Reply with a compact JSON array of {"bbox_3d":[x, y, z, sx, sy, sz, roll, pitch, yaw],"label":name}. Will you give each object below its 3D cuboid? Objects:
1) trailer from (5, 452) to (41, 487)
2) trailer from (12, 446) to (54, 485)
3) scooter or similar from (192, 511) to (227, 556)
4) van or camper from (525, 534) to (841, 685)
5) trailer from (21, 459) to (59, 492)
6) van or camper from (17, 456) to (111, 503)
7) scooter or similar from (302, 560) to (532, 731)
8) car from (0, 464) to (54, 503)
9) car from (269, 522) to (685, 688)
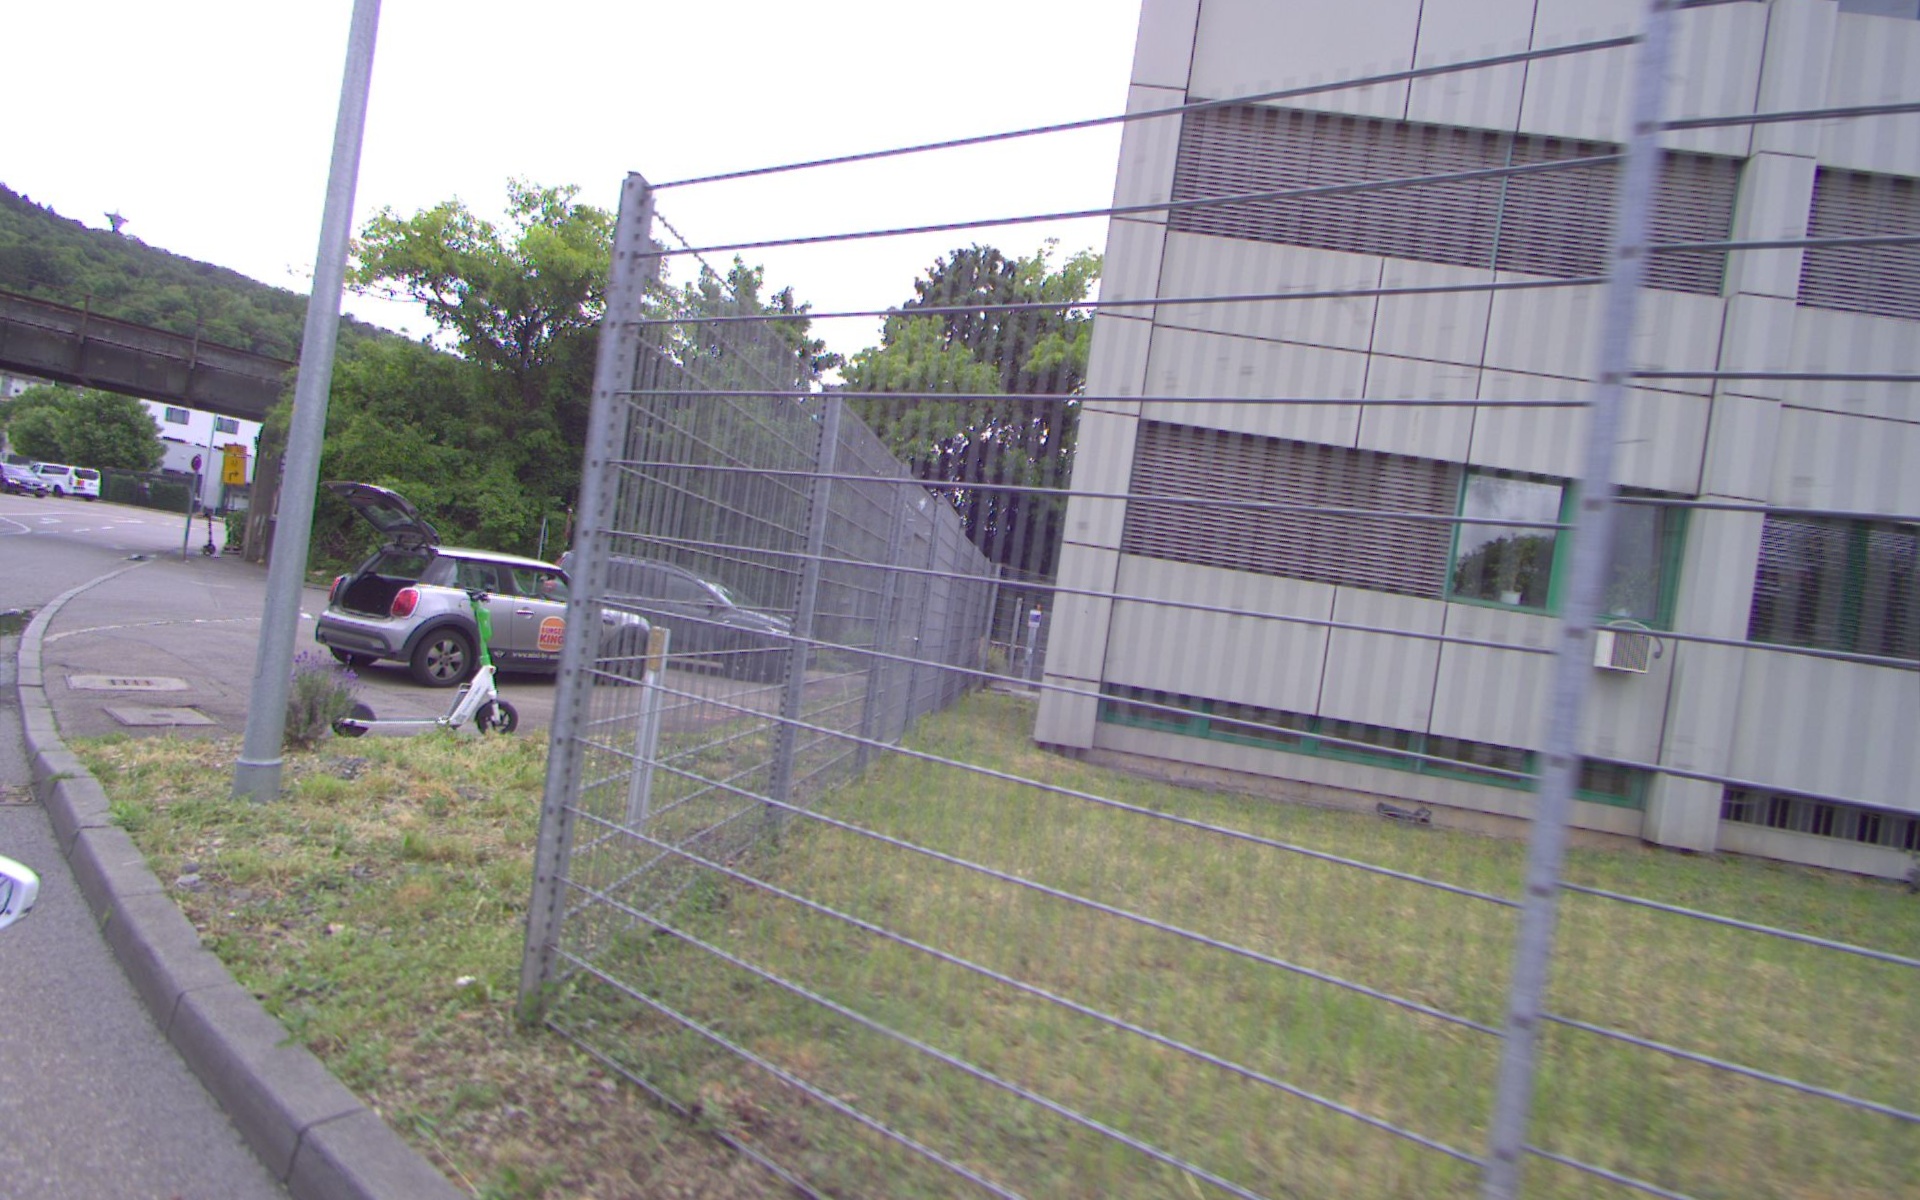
[{"bbox_3d":[-94.149,-13.128,101.085,3.947,2.988,2.275,9,0,45],"label":"trailer"},{"bbox_3d":[-108.256,-15.687,117.468,4.869,3.803,3.063,9,0,45],"label":"trailer"},{"bbox_3d":[-23.341,-2.079,31.275,1.646,1.253,0.502,7,3,42],"label":"scooter or similar"},{"bbox_3d":[-4.427,0.173,16.370,4.420,1.713,1.835,8,-2,11],"label":"van or camper"},{"bbox_3d":[-78.340,-10.616,85.671,3.947,2.371,1.990,9,-1,45],"label":"trailer"},{"bbox_3d":[-56.063,-7.527,62.952,4.125,2.107,2.108,8,-1,10],"label":"van or camper"},{"bbox_3d":[-4.106,0.363,7.652,1.407,1.147,0.476,7,0,-36],"label":"scooter or similar"},{"bbox_3d":[-54.109,-6.747,57.267,4.291,1.703,2.000,8,-1,23],"label":"car"},{"bbox_3d":[-5.383,0.169,11.788,1.755,1.449,4.016,8,-1,29],"label":"car"}]
